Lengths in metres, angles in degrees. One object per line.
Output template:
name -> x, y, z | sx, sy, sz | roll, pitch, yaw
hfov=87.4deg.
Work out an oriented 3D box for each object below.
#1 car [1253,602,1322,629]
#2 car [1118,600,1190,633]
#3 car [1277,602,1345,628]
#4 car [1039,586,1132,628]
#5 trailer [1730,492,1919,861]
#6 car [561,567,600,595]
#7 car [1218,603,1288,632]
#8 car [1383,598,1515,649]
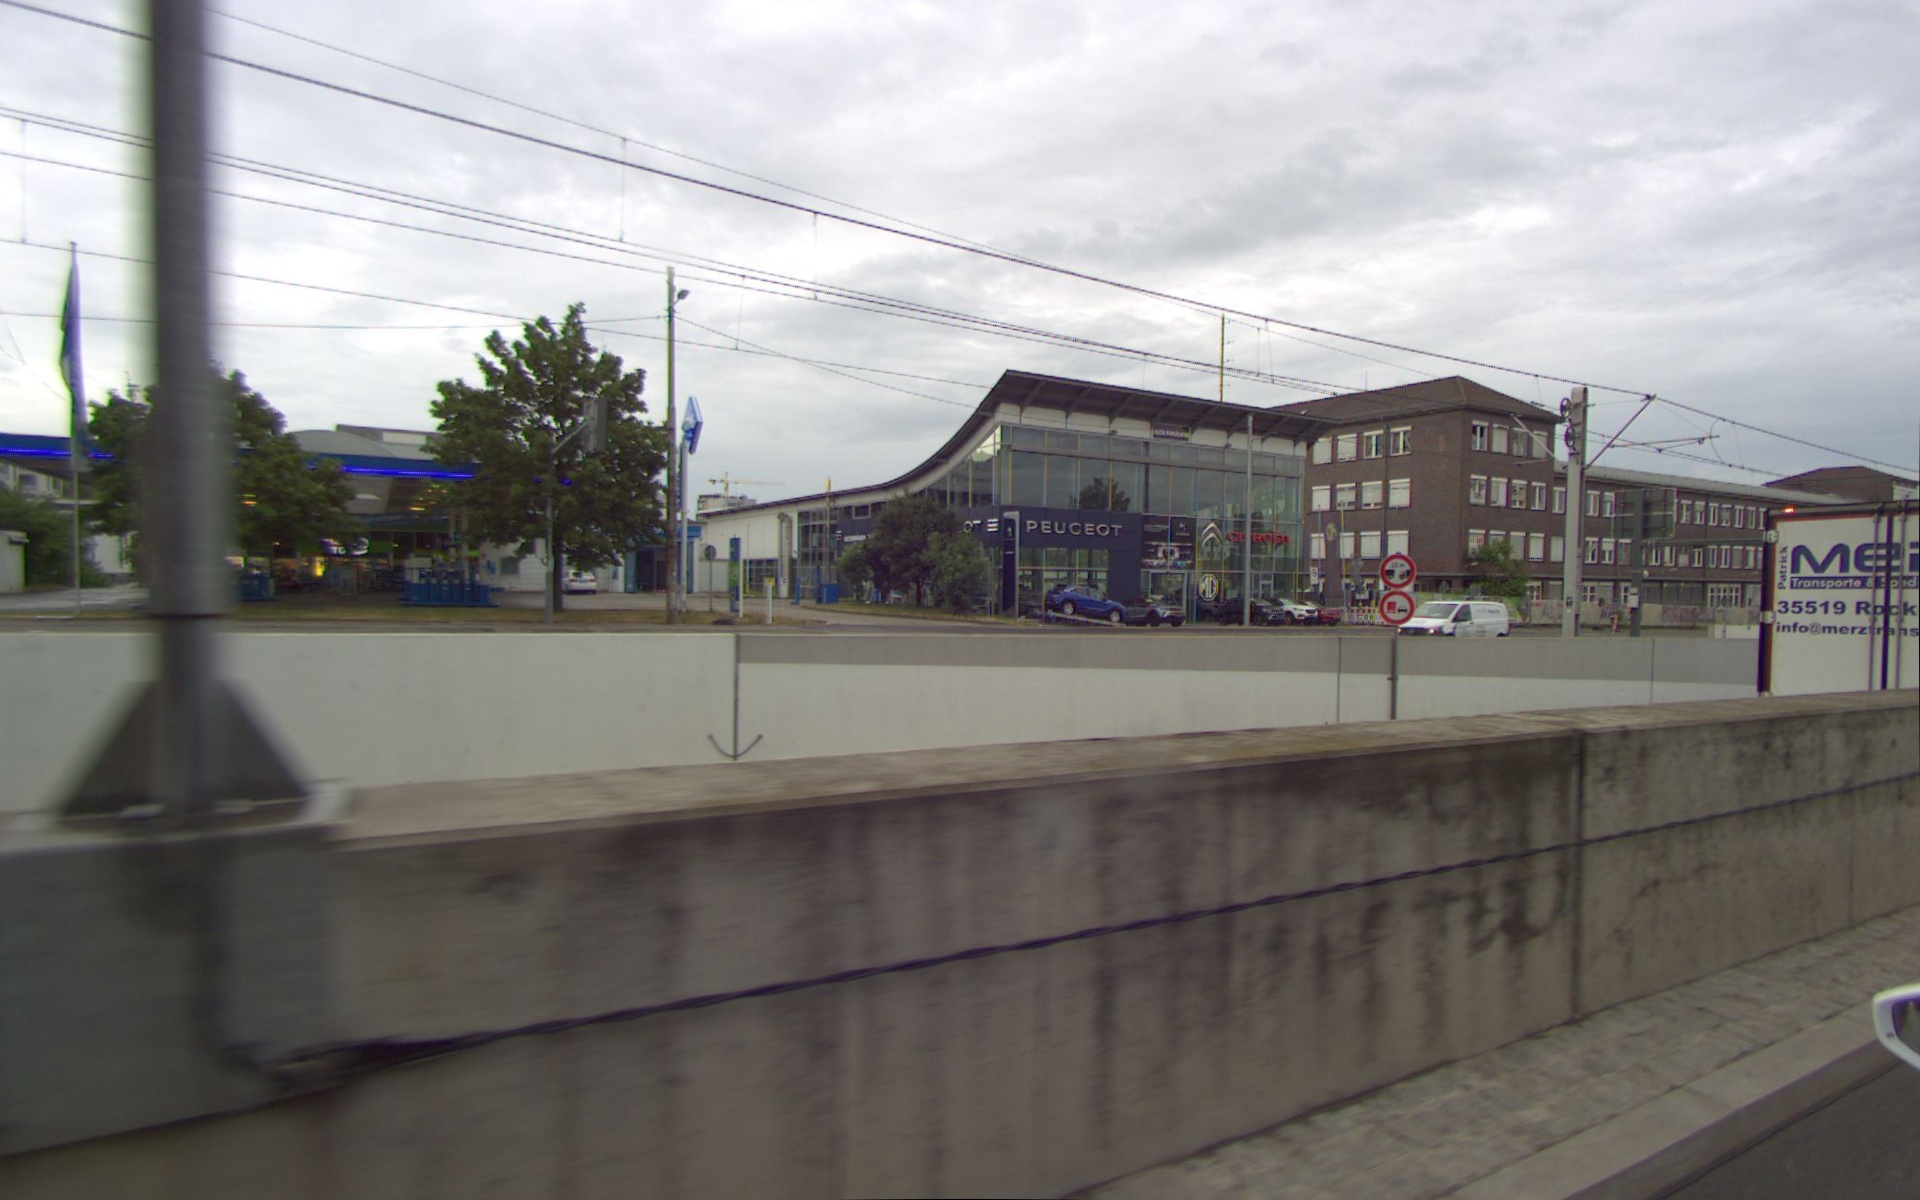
car -> 18.340, 0.844, 56.368 | 1.729, 1.416, 3.464 | 1, 0, -30
car -> 9.726, 0.846, 50.657 | 1.557, 1.421, 3.484 | 0, -4, -33
car -> 20.175, 0.857, 57.830 | 1.601, 1.400, 3.460 | 1, -1, -33
car -> 6.005, 0.338, 48.074 | 4.011, 1.630, 1.757 | 5, -1, -23
trailer -> 16.592, 1.029, 15.491 | 13.027, 4.309, 2.749 | 1, -1, -30
car -> -23.852, -1.188, 63.064 | 1.834, 1.662, 3.971 | 1, 1, -28
car -> 16.046, 0.933, 55.065 | 1.729, 1.493, 3.464 | 1, 0, -30
car -> 18.024, 0.866, 36.979 | 4.978, 1.718, 1.990 | 1, 1, -31
